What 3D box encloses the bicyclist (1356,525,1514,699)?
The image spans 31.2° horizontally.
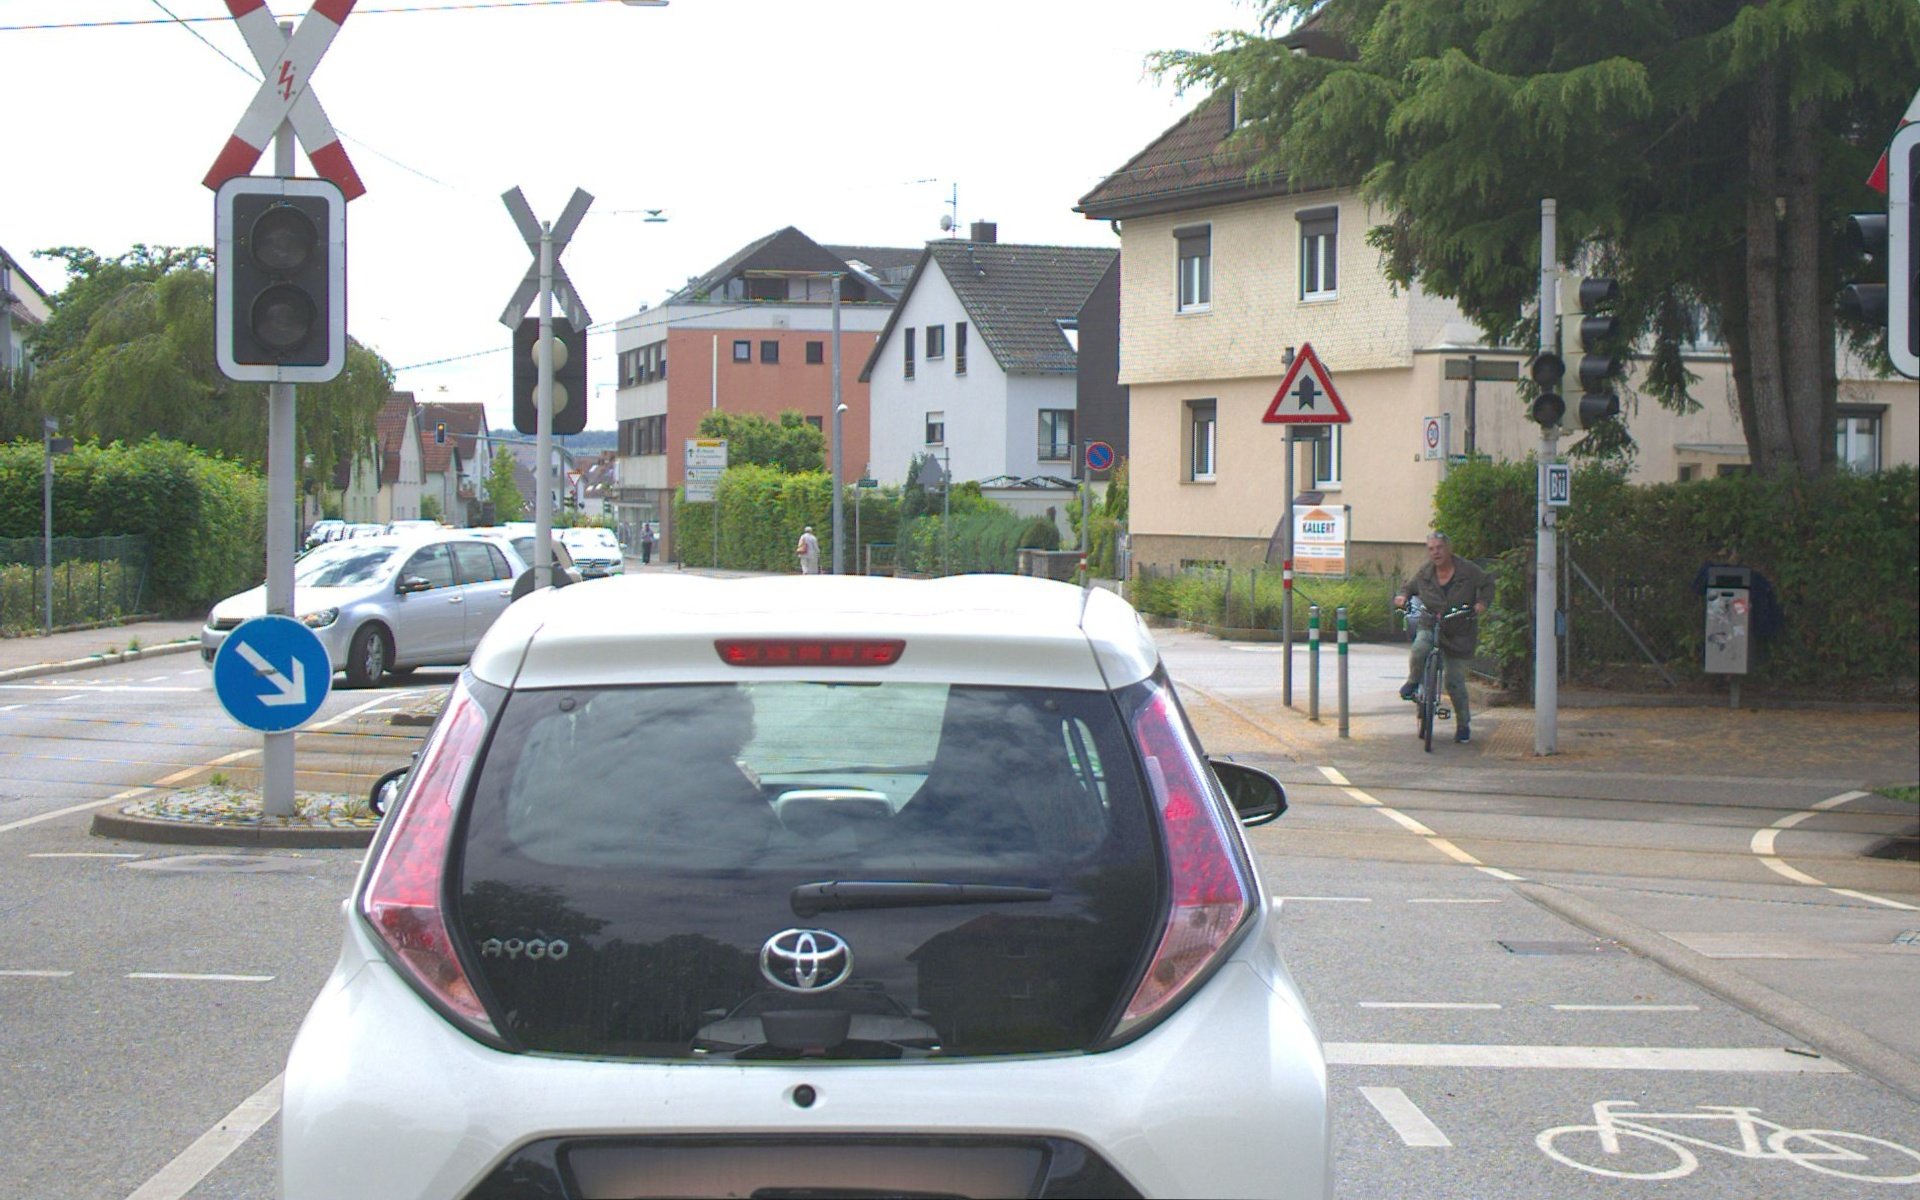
[{"bbox_3d":[3.586,0.077,25.889,0.933,1.243,1.101,0,3,21],"label":"bicyclist"}]

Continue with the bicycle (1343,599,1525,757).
[{"bbox_3d":[3.586,0.563,25.880,0.933,1.036,1.913,0,3,21],"label":"bicycle"}]

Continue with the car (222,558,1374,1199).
[{"bbox_3d":[-0.253,0.668,6.859,1.621,1.481,4.000,0,1,-1],"label":"car"}]

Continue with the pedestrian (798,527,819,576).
[{"bbox_3d":[-4.544,-1.455,102.861,0.436,1.433,0.414,0,2,-41],"label":"pedestrian"}]

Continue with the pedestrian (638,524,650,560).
[{"bbox_3d":[-12.681,-2.337,137.958,0.413,1.433,0.438,1,1,-11],"label":"pedestrian"}]

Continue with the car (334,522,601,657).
[{"bbox_3d":[-5.773,-0.145,40.491,1.578,1.505,2.782,2,2,38],"label":"car"}]

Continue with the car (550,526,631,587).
[{"bbox_3d":[-9.987,-1.187,92.673,1.774,1.556,4.171,0,1,-12],"label":"car"}]

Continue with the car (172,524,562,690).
[{"bbox_3d":[-5.837,0.018,34.291,1.691,1.453,4.063,2,3,28],"label":"car"}]
